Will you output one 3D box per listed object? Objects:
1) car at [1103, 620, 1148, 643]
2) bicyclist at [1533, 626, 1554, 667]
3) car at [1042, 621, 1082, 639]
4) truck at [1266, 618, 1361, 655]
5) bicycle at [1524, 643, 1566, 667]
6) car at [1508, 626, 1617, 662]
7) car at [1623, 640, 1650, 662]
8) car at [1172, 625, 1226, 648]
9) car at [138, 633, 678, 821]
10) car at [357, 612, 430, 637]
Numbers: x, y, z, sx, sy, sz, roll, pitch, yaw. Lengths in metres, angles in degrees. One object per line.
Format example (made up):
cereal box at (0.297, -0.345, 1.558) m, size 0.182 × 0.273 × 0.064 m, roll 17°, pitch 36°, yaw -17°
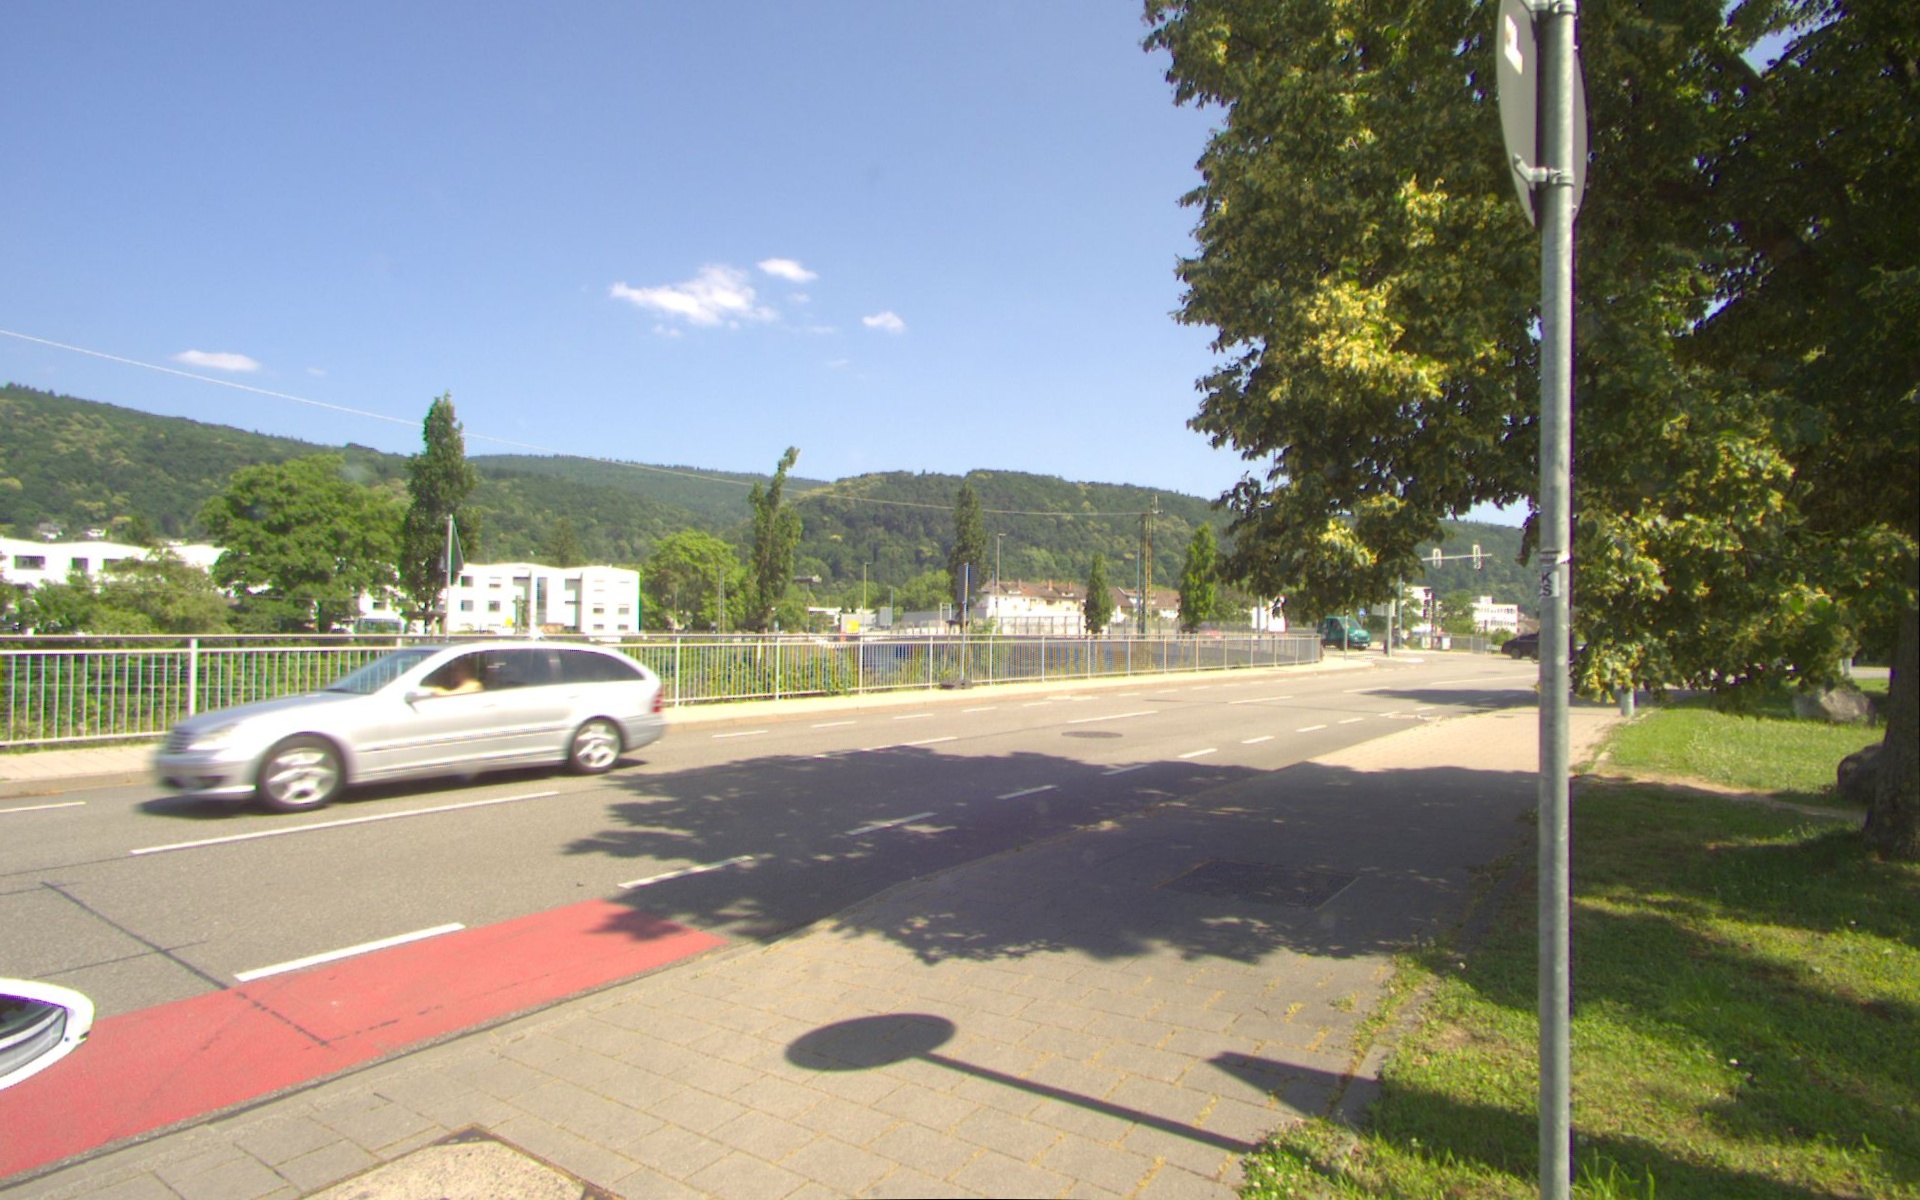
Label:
car at (14.546, 2.728, 88.107) m, size 1.802 × 1.873 × 4.356 m, roll -2°, pitch 0°, yaw -24°
bicyclist at (27.704, 2.191, 47.554) m, size 0.544 × 1.921 × 0.654 m, roll -2°, pitch 1°, yaw -25°
car at (9.947, 2.909, 97.729) m, size 1.801 × 1.673 × 4.754 m, roll -2°, pitch 0°, yaw -23°
truck at (24.363, 2.509, 69.397) m, size 2.349 × 2.405 × 6.361 m, roll 2°, pitch -2°, yaw -27°
bicycle at (27.744, 2.608, 47.514) m, size 0.573 × 1.057 × 1.719 m, roll -2°, pitch 0°, yaw -25°
car at (31.338, 2.283, 52.219) m, size 1.856 × 1.776 × 4.597 m, roll 1°, pitch -2°, yaw -26°
car at (49.511, 3.717, 73.317) m, size 1.589 × 1.555 × 3.662 m, roll 0°, pitch -2°, yaw 34°
car at (18.957, 2.882, 79.584) m, size 1.804 × 1.701 × 4.352 m, roll -2°, pitch 0°, yaw -28°
car at (-5.096, 1.046, 9.841) m, size 1.693 × 1.421 × 4.358 m, roll -2°, pitch -3°, yaw 37°
car at (-52.410, 2.242, 92.688) m, size 5.464 × 2.127 × 2.117 m, roll 0°, pitch -5°, yaw -44°
